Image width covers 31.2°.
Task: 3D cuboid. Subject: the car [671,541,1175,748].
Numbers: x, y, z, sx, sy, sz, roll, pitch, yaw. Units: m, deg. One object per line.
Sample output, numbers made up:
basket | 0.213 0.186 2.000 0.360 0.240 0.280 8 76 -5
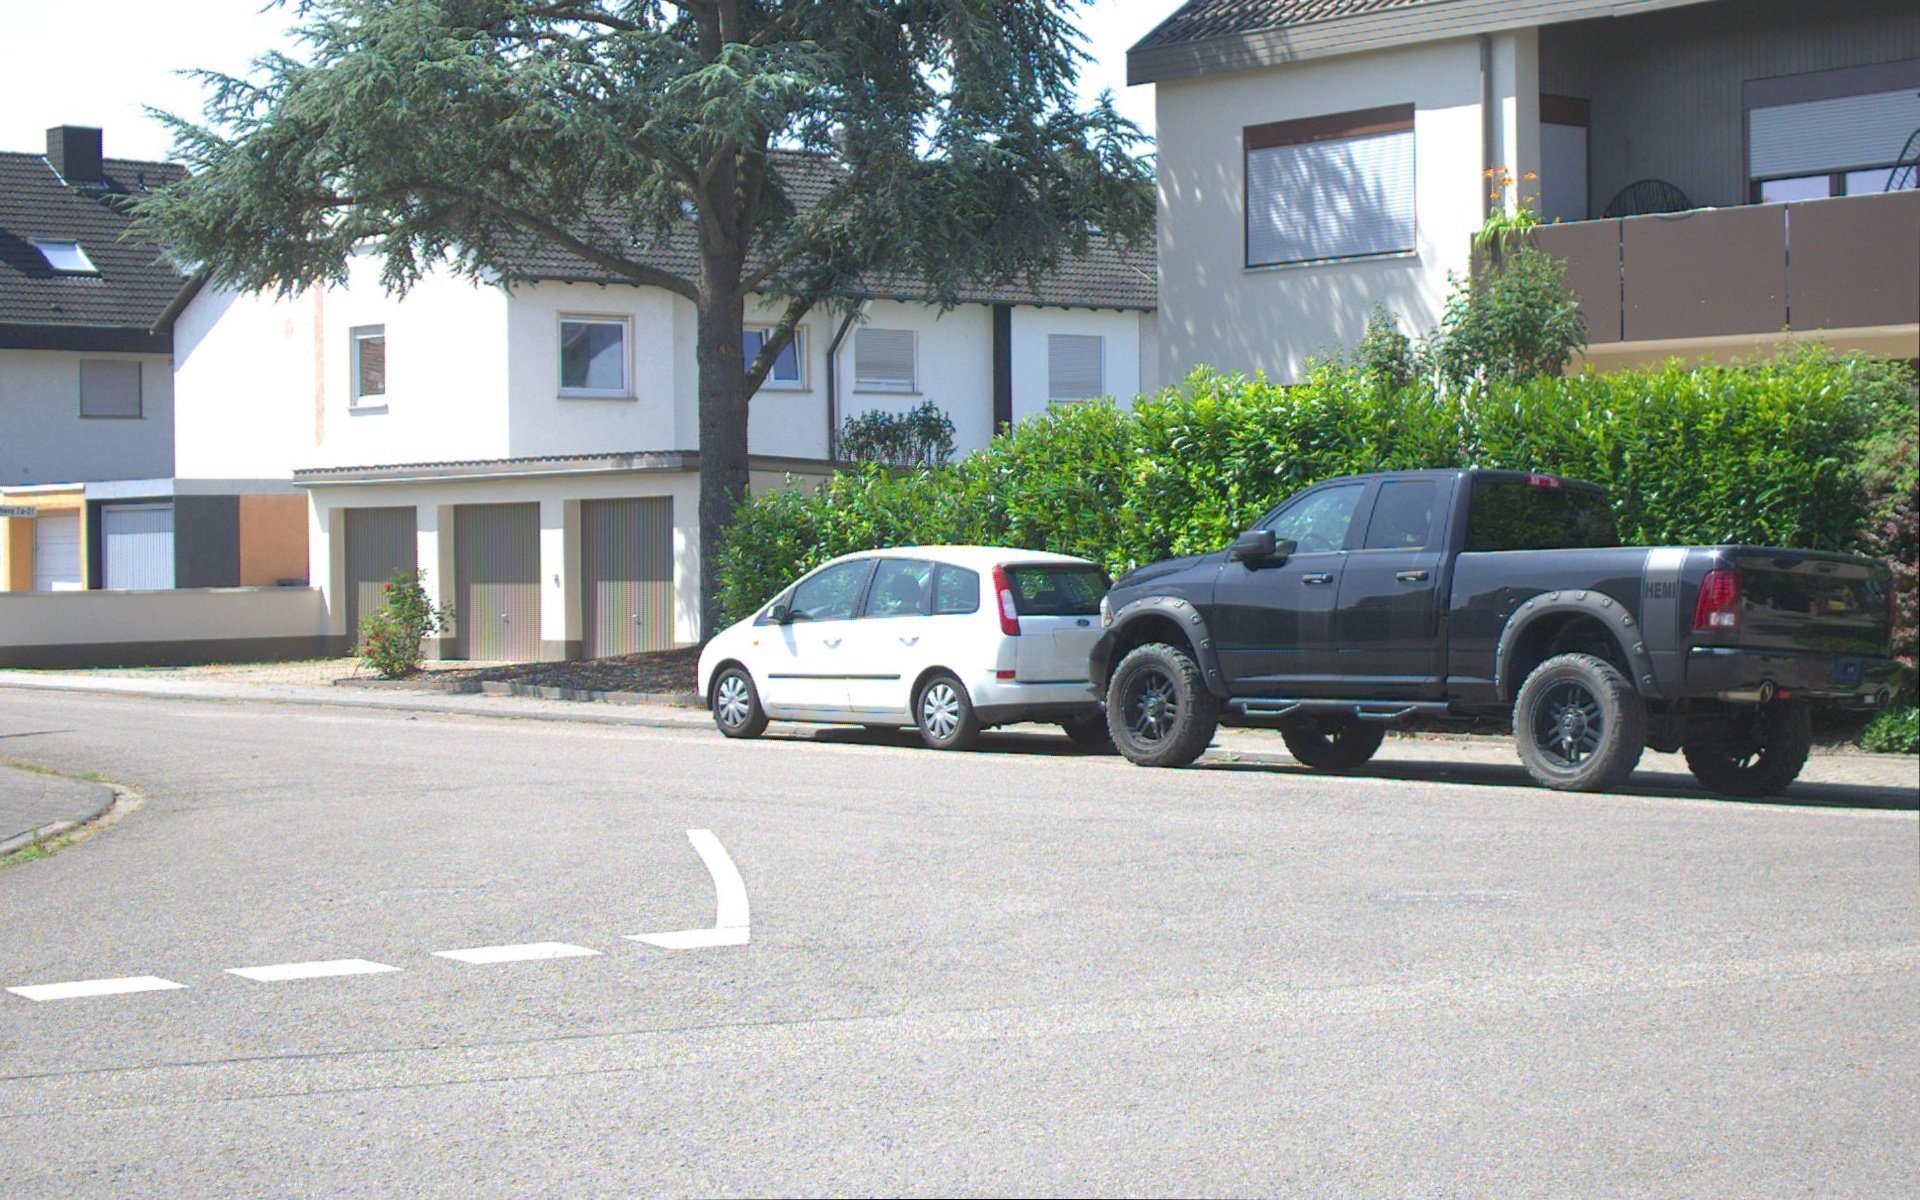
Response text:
car | -0.365 0.308 28.037 1.798 1.558 4.141 -1 1 -43

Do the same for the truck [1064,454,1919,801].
truck | 3.548 0.153 22.759 2.365 2.007 5.709 1 0 -43
